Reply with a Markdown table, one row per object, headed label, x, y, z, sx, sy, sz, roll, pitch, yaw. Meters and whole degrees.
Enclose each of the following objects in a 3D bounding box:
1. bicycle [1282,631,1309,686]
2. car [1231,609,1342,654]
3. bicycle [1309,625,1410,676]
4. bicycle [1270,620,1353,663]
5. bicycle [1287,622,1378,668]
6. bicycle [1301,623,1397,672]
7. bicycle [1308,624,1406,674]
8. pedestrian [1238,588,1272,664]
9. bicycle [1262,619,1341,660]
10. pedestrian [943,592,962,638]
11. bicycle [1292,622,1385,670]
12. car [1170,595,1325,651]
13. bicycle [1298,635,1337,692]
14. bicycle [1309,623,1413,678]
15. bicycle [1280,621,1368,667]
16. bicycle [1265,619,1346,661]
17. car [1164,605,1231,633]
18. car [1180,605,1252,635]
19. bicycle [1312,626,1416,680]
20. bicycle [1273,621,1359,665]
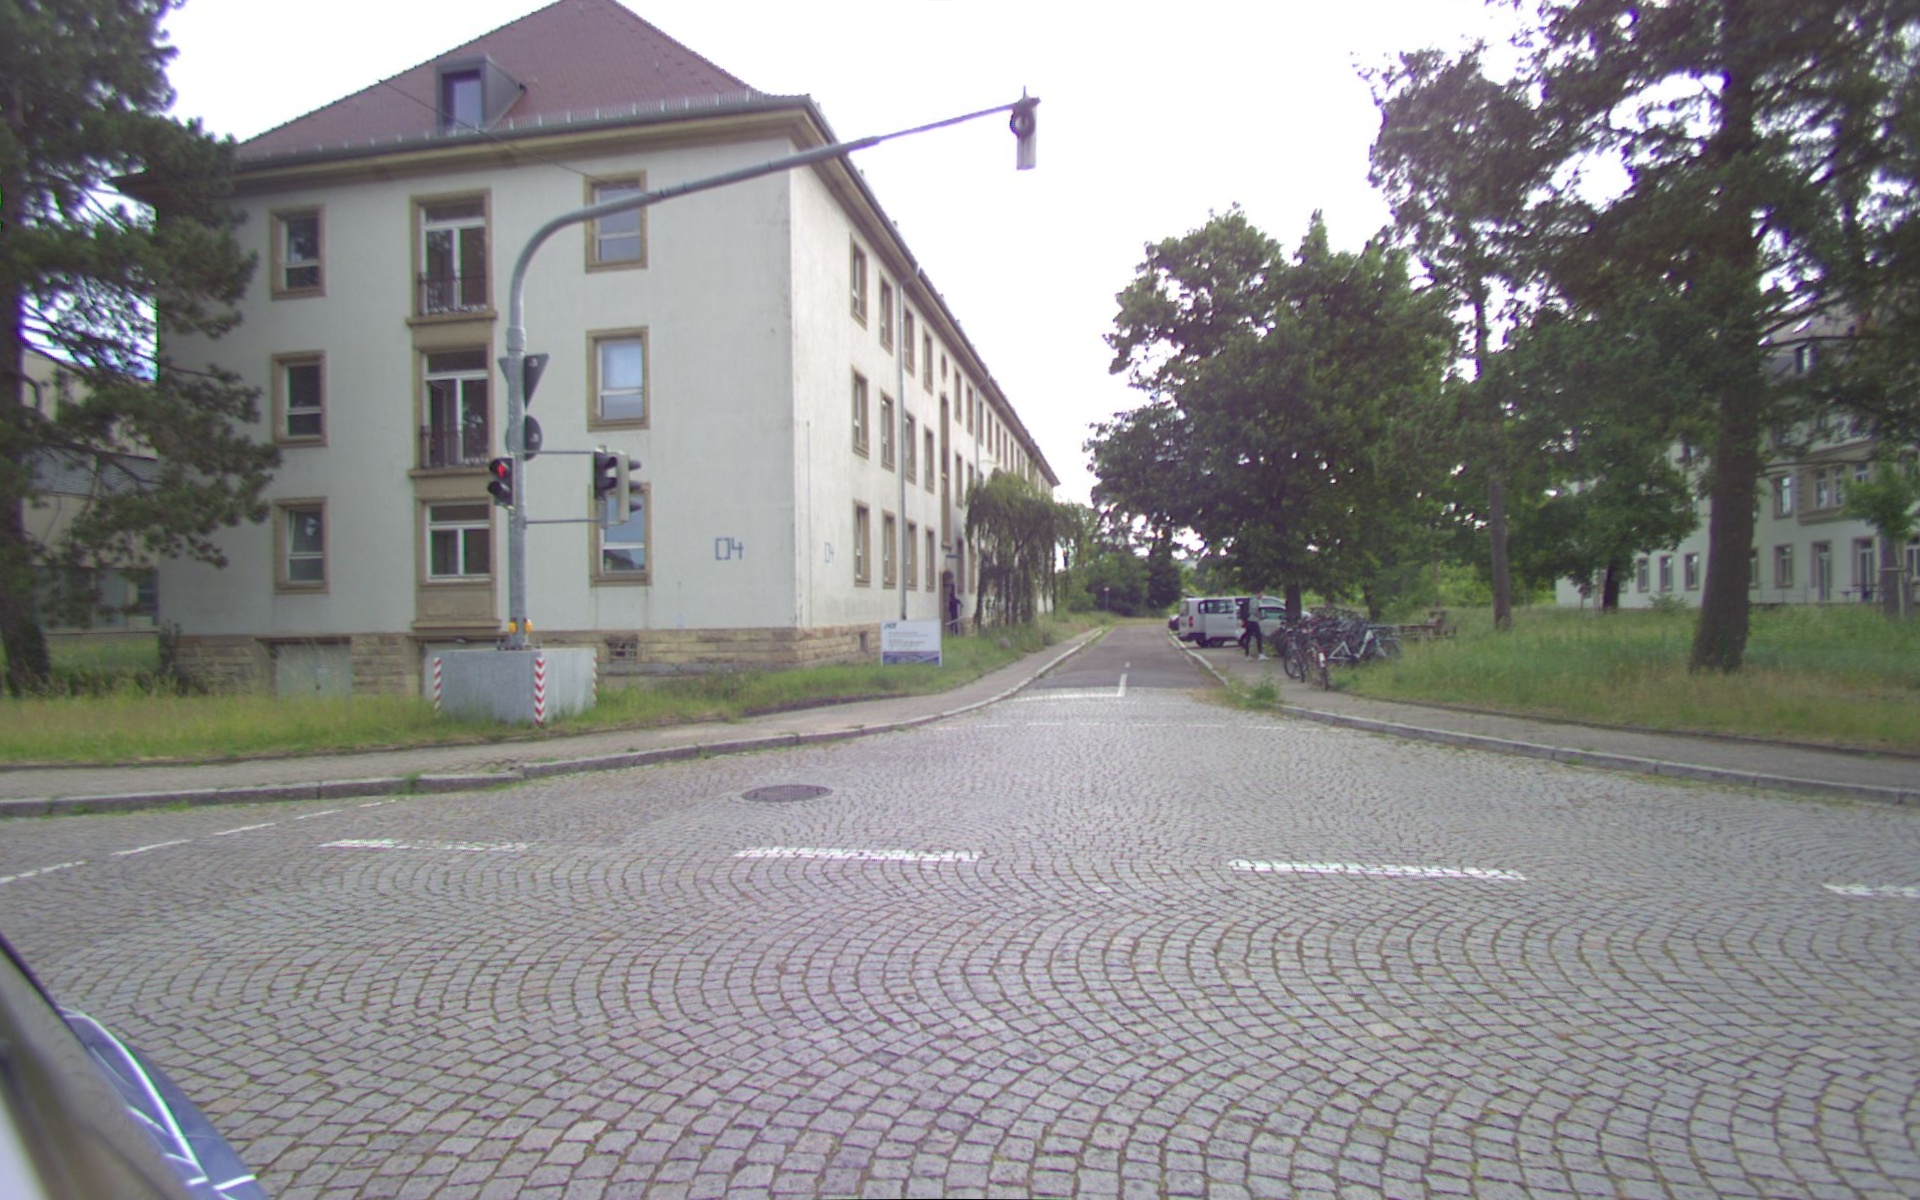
| label | x | y | z | sx | sy | sz | roll | pitch | yaw |
| --- | --- | --- | --- | --- | --- | --- | --- | --- | --- |
| bicycle | 6.494 | 1.102 | 19.573 | 0.456 | 0.981 | 1.652 | -1 | -1 | 19 |
| car | 11.314 | 1.086 | 35.273 | 3.403 | 1.460 | 1.908 | -1 | -1 | 10 |
| bicycle | 8.615 | 1.085 | 21.877 | 1.930 | 1.073 | 0.561 | -1 | -1 | 9 |
| bicycle | 9.045 | 1.066 | 26.096 | 1.930 | 1.073 | 0.561 | -1 | -1 | 9 |
| bicycle | 8.863 | 1.072 | 24.118 | 1.930 | 1.073 | 0.561 | -1 | -1 | 9 |
| bicycle | 8.808 | 1.079 | 22.990 | 1.930 | 1.073 | 0.561 | -1 | -1 | 9 |
| bicycle | 8.808 | 1.081 | 22.496 | 1.930 | 1.073 | 0.561 | -1 | -1 | 9 |
| pedestrian | 7.724 | 0.685 | 26.521 | 0.785 | 1.952 | 0.586 | -1 | -1 | 11 |
| bicycle | 9.226 | 1.061 | 27.358 | 1.930 | 1.073 | 0.561 | -1 | -1 | 9 |
| pedestrian | -0.276 | 0.561 | 38.243 | 0.563 | 1.714 | 0.530 | -1 | -1 | 14 |
| bicycle | 8.793 | 1.073 | 23.583 | 1.930 | 1.073 | 0.561 | -1 | -1 | 9 |
| car | 10.989 | 0.876 | 39.036 | 5.295 | 2.014 | 2.289 | -1 | -1 | 3 |
| bicycle | 6.264 | 1.092 | 17.767 | 0.455 | 0.916 | 1.655 | -1 | -1 | 14 |
| bicycle | 8.446 | 1.064 | 21.373 | 1.930 | 1.119 | 0.561 | -1 | -1 | 9 |
| bicycle | 8.856 | 1.071 | 24.675 | 1.930 | 1.073 | 0.561 | -1 | -1 | 9 |
| bicycle | 9.117 | 1.064 | 26.769 | 1.930 | 1.073 | 0.561 | -1 | -1 | 9 |
| car | 12.977 | 1.038 | 55.439 | 3.403 | 1.460 | 1.908 | -1 | -1 | 10 |
| car | 13.199 | 1.044 | 52.357 | 3.403 | 1.460 | 1.908 | -1 | -1 | 10 |
| bicycle | 8.297 | 1.091 | 20.838 | 1.878 | 1.073 | 0.615 | -1 | -1 | 9 |
| bicycle | 8.911 | 1.069 | 25.384 | 1.930 | 1.073 | 0.561 | -1 | -1 | 9 |
